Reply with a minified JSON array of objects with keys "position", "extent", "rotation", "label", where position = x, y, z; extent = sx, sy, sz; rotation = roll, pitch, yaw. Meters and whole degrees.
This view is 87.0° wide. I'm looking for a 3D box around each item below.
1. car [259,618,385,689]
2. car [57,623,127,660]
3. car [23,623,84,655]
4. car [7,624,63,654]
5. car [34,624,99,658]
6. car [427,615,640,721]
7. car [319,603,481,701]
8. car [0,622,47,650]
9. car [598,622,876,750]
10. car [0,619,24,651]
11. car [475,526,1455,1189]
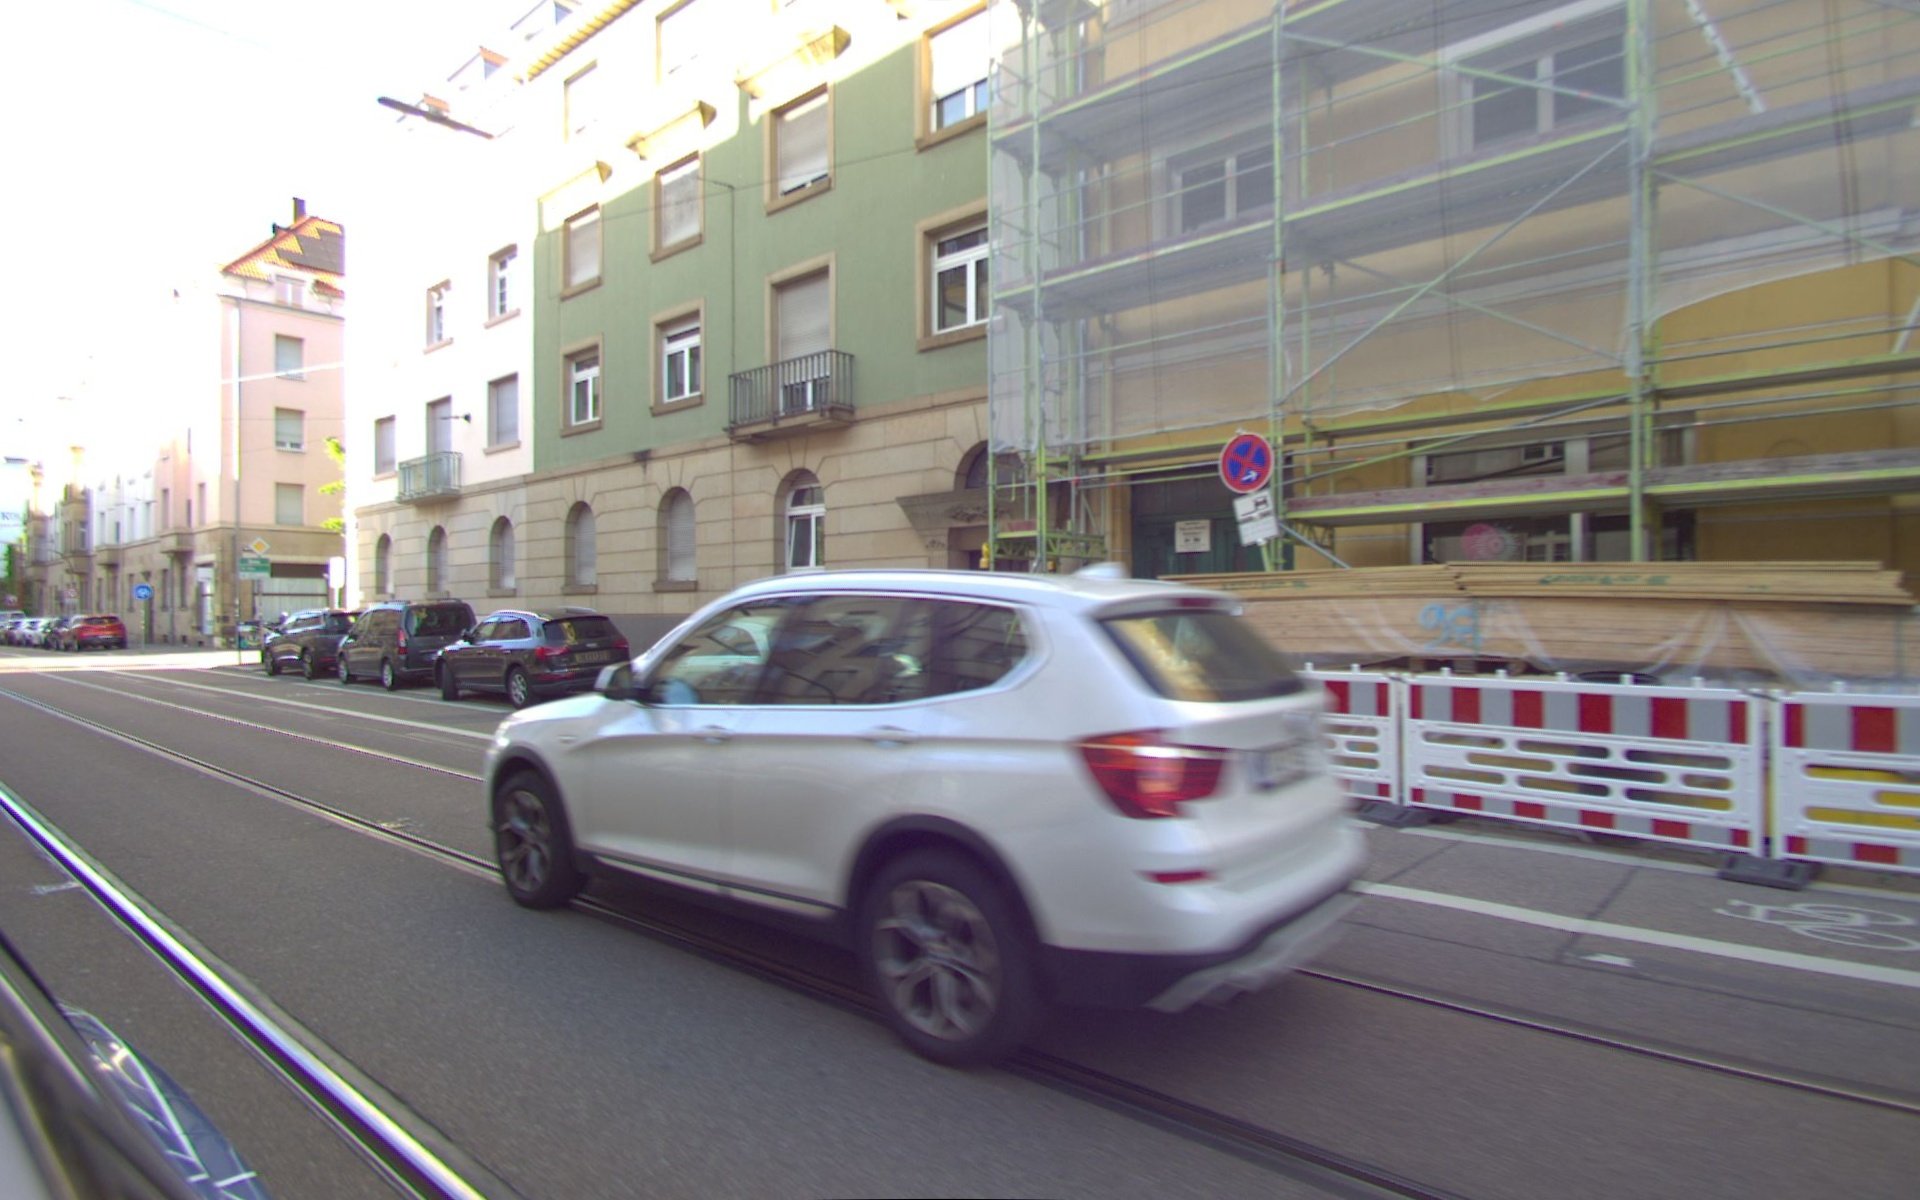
[{"position":[-15.843,1.265,25.053],"extent":[3.770,1.622,1.774],"rotation":[-1,-2,44],"label":"car"},{"position":[-38.867,1.816,45.295],"extent":[3.766,1.514,1.776],"rotation":[-1,0,40],"label":"car"},{"position":[-47.025,1.989,52.482],"extent":[3.766,1.514,1.776],"rotation":[-1,0,40],"label":"car"},{"position":[-50.756,2.139,55.508],"extent":[3.766,1.514,1.776],"rotation":[-1,0,40],"label":"car"},{"position":[-43.079,1.938,48.756],"extent":[3.766,1.514,1.776],"rotation":[-1,0,40],"label":"car"},{"position":[-7.593,1.110,17.843],"extent":[4.219,1.590,1.681],"rotation":[-1,0,40],"label":"car"},{"position":[-12.083,1.055,21.765],"extent":[3.766,1.860,1.776],"rotation":[-1,0,40],"label":"car"},{"position":[-54.624,2.092,58.811],"extent":[3.766,1.514,1.776],"rotation":[-1,0,40],"label":"car"},{"position":[-3.174,1.073,14.001],"extent":[3.998,1.523,1.728],"rotation":[-1,-2,41],"label":"car"},{"position":[-61.892,2.221,65.140],"extent":[3.997,2.029,1.973],"rotation":[-1,-2,41],"label":"car"},{"position":[-0.322,0.682,4.555],"extent":[4.290,1.619,1.749],"rotation":[-1,-2,40],"label":"car"}]
